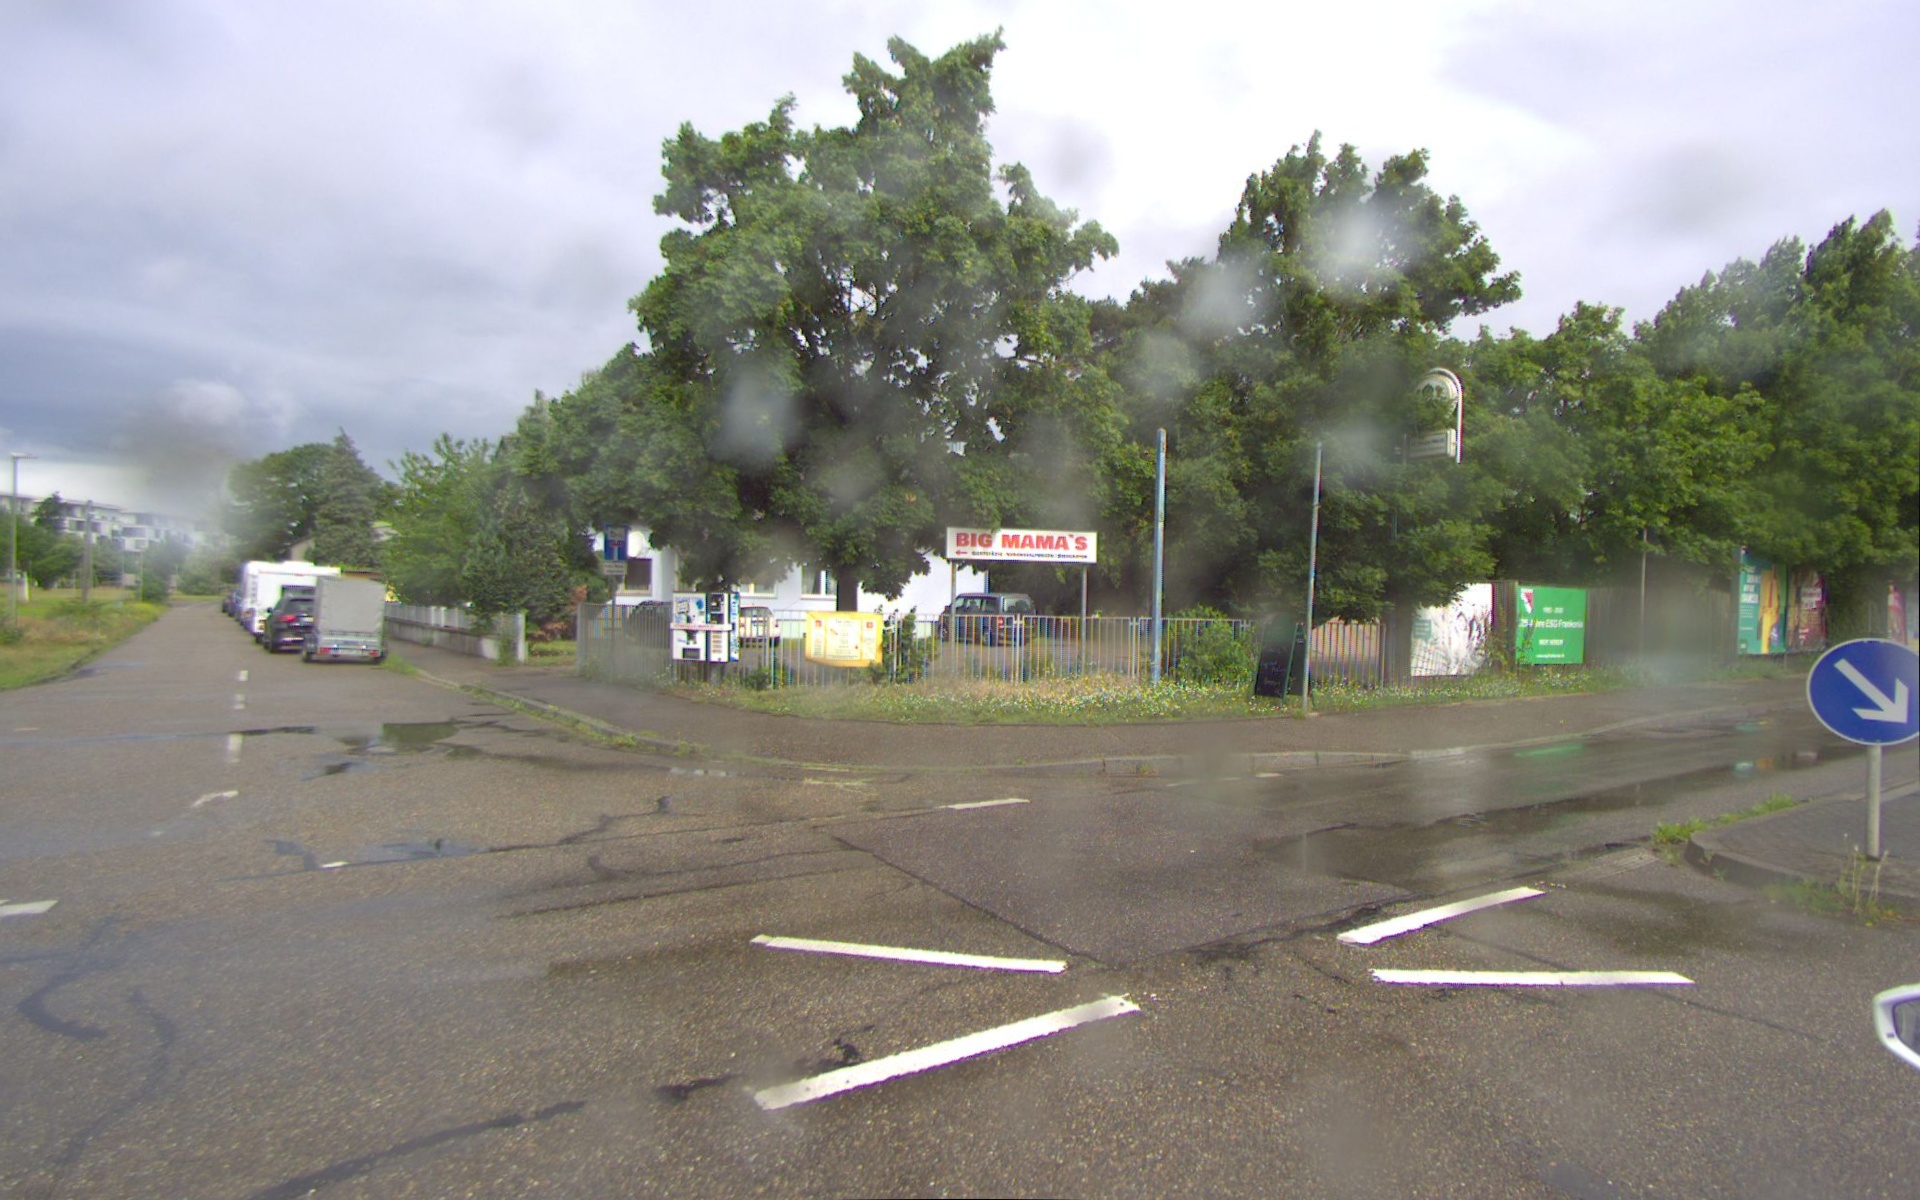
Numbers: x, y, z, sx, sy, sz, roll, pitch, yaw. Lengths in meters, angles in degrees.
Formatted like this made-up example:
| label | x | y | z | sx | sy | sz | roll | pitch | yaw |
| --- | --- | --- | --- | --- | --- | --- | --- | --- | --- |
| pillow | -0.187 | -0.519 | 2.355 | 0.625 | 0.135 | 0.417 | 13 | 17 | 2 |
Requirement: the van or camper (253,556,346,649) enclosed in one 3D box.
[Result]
| label | x | y | z | sx | sy | sz | roll | pitch | yaw |
| --- | --- | --- | --- | --- | --- | --- | --- | --- | --- |
| van or camper | -22.718 | 0.097 | 34.531 | 2.459 | 2.985 | 4.472 | 1 | 0 | -35 |

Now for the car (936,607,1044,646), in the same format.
| label | x | y | z | sx | sy | sz | roll | pitch | yaw |
| --- | --- | --- | --- | --- | --- | --- | --- | --- | --- |
| car | 1.119 | 1.017 | 39.440 | 1.980 | 1.437 | 4.500 | 2 | -1 | -34 |

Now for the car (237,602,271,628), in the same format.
| label | x | y | z | sx | sy | sz | roll | pitch | yaw |
| --- | --- | --- | --- | --- | --- | --- | --- | --- | --- |
| car | -41.968 | 0.876 | 59.736 | 1.629 | 1.417 | 3.960 | 1 | 0 | -35 |

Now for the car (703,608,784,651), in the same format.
| label | x | y | z | sx | sy | sz | roll | pitch | yaw |
| --- | --- | --- | --- | --- | --- | --- | --- | --- | --- |
| car | -7.457 | 0.974 | 34.330 | 1.375 | 1.333 | 3.886 | 1 | -1 | -33 |

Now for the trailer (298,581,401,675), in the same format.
| label | x | y | z | sx | sy | sz | roll | pitch | yaw |
| --- | --- | --- | --- | --- | --- | --- | --- | --- | --- |
| trailer | -15.585 | 0.648 | 25.550 | 1.828 | 2.117 | 4.069 | 1 | 1 | -37 |

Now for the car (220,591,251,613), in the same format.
| label | x | y | z | sx | sy | sz | roll | pitch | yaw |
| --- | --- | --- | --- | --- | --- | --- | --- | --- | --- |
| car | -59.696 | 0.187 | 82.774 | 1.980 | 1.751 | 3.960 | 1 | 0 | -35 |

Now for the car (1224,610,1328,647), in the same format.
| label | x | y | z | sx | sy | sz | roll | pitch | yaw |
| --- | --- | --- | --- | --- | --- | --- | --- | --- | --- |
| car | 13.101 | 1.180 | 41.548 | 4.505 | 1.437 | 1.978 | 2 | -1 | -39 |

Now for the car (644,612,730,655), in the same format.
| label | x | y | z | sx | sy | sz | roll | pitch | yaw |
| --- | --- | --- | --- | --- | --- | --- | --- | --- | --- |
| car | -8.712 | 1.040 | 31.887 | 1.648 | 1.224 | 3.352 | 1 | -1 | -34 |

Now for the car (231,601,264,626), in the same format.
| label | x | y | z | sx | sy | sz | roll | pitch | yaw |
| --- | --- | --- | --- | --- | --- | --- | --- | --- | --- |
| car | -49.532 | 0.937 | 69.785 | 1.636 | 1.662 | 3.955 | 1 | 0 | -39 |

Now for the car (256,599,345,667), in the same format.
| label | x | y | z | sx | sy | sz | roll | pitch | yaw |
| --- | --- | --- | --- | --- | --- | --- | --- | --- | --- |
| car | -19.040 | 0.886 | 28.957 | 1.980 | 1.799 | 4.475 | 1 | 0 | -34 |

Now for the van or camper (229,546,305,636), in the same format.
| label | x | y | z | sx | sy | sz | roll | pitch | yaw |
| --- | --- | --- | --- | --- | --- | --- | --- | --- | --- |
| van or camper | -31.384 | -0.372 | 45.543 | 2.628 | 3.794 | 5.794 | 1 | 0 | -35 |
